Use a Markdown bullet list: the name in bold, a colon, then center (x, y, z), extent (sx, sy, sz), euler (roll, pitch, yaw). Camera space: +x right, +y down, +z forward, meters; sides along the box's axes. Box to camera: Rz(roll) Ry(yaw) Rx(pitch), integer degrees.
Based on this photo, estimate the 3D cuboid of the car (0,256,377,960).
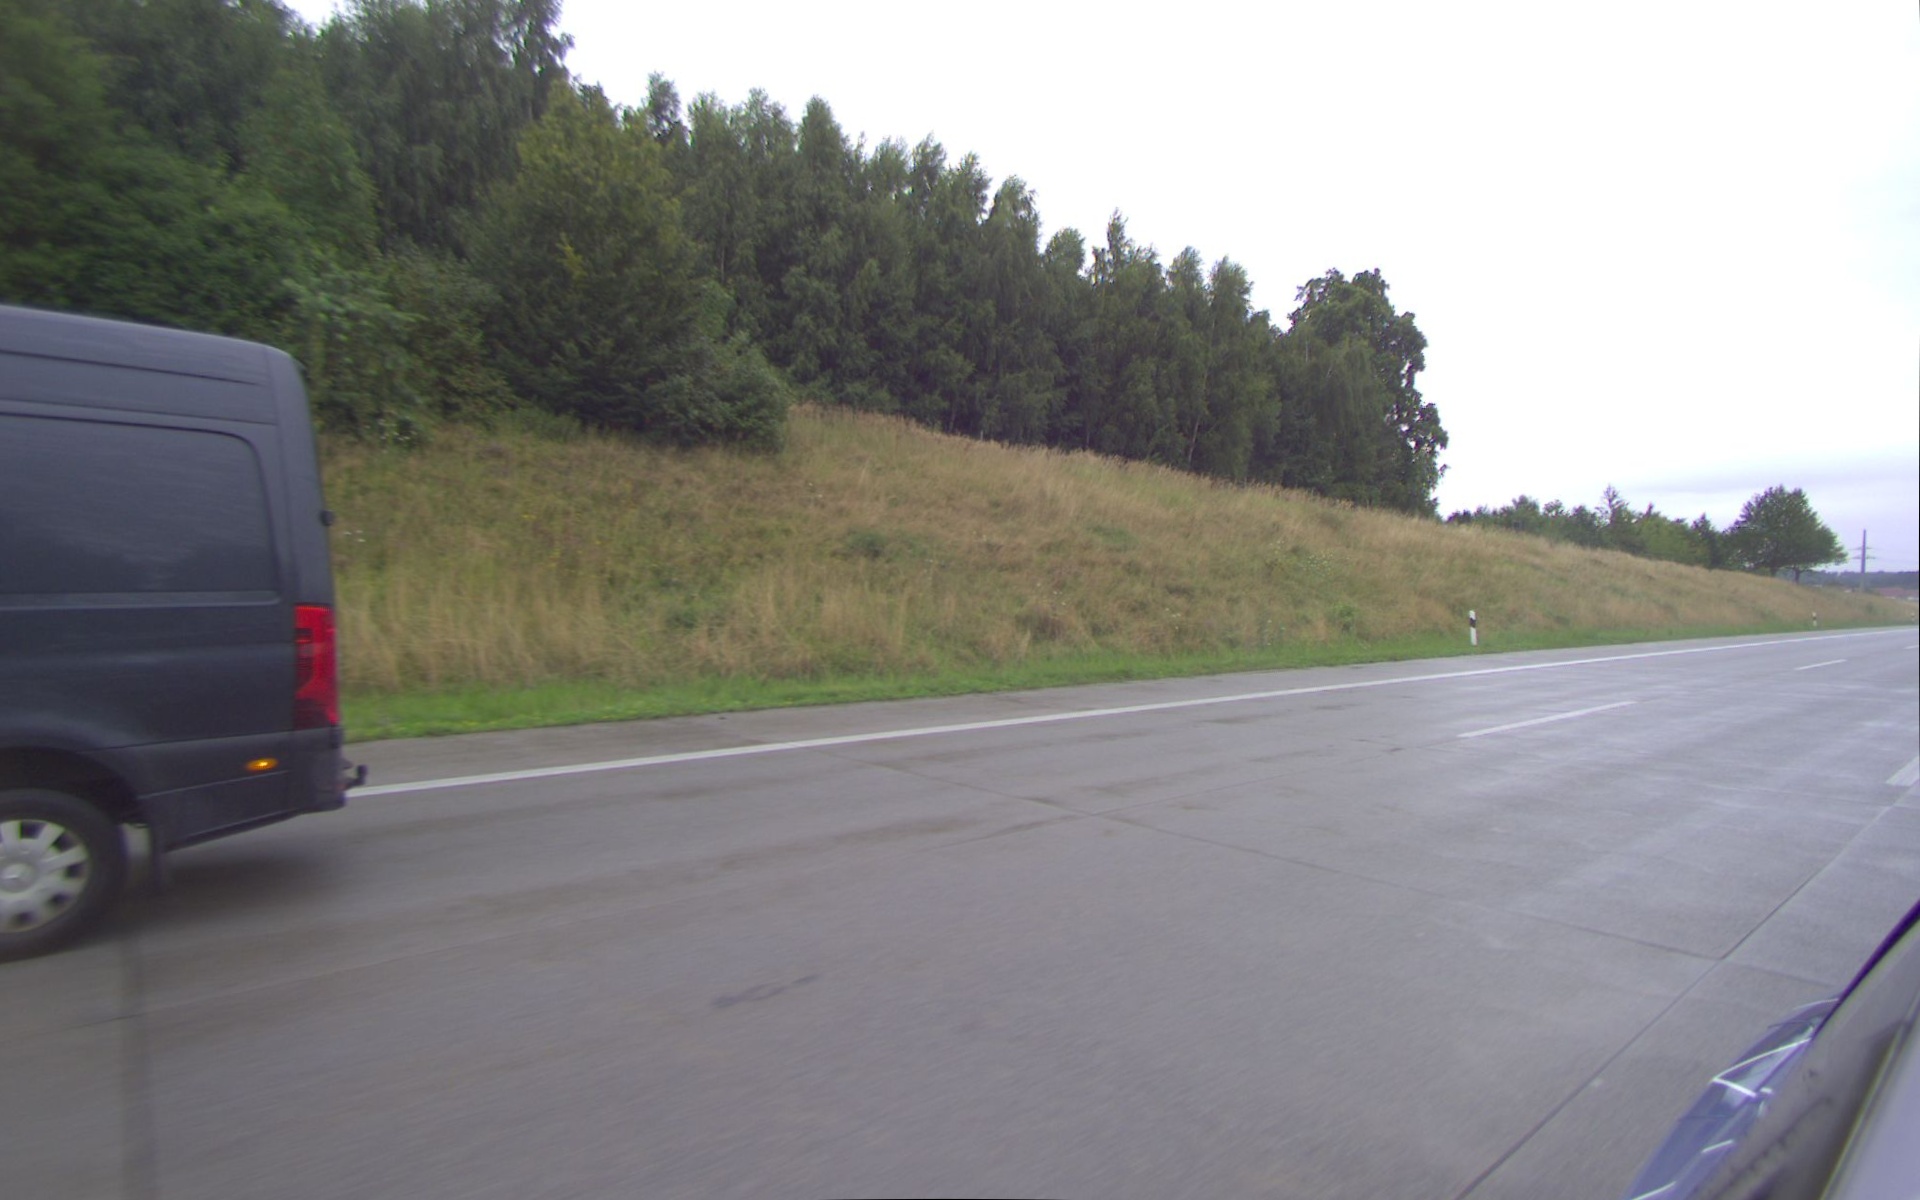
- **car**: center (-5.793, 0.024, 3.350), extent (6.469, 2.693, 1.944), euler (0, 0, -40)
